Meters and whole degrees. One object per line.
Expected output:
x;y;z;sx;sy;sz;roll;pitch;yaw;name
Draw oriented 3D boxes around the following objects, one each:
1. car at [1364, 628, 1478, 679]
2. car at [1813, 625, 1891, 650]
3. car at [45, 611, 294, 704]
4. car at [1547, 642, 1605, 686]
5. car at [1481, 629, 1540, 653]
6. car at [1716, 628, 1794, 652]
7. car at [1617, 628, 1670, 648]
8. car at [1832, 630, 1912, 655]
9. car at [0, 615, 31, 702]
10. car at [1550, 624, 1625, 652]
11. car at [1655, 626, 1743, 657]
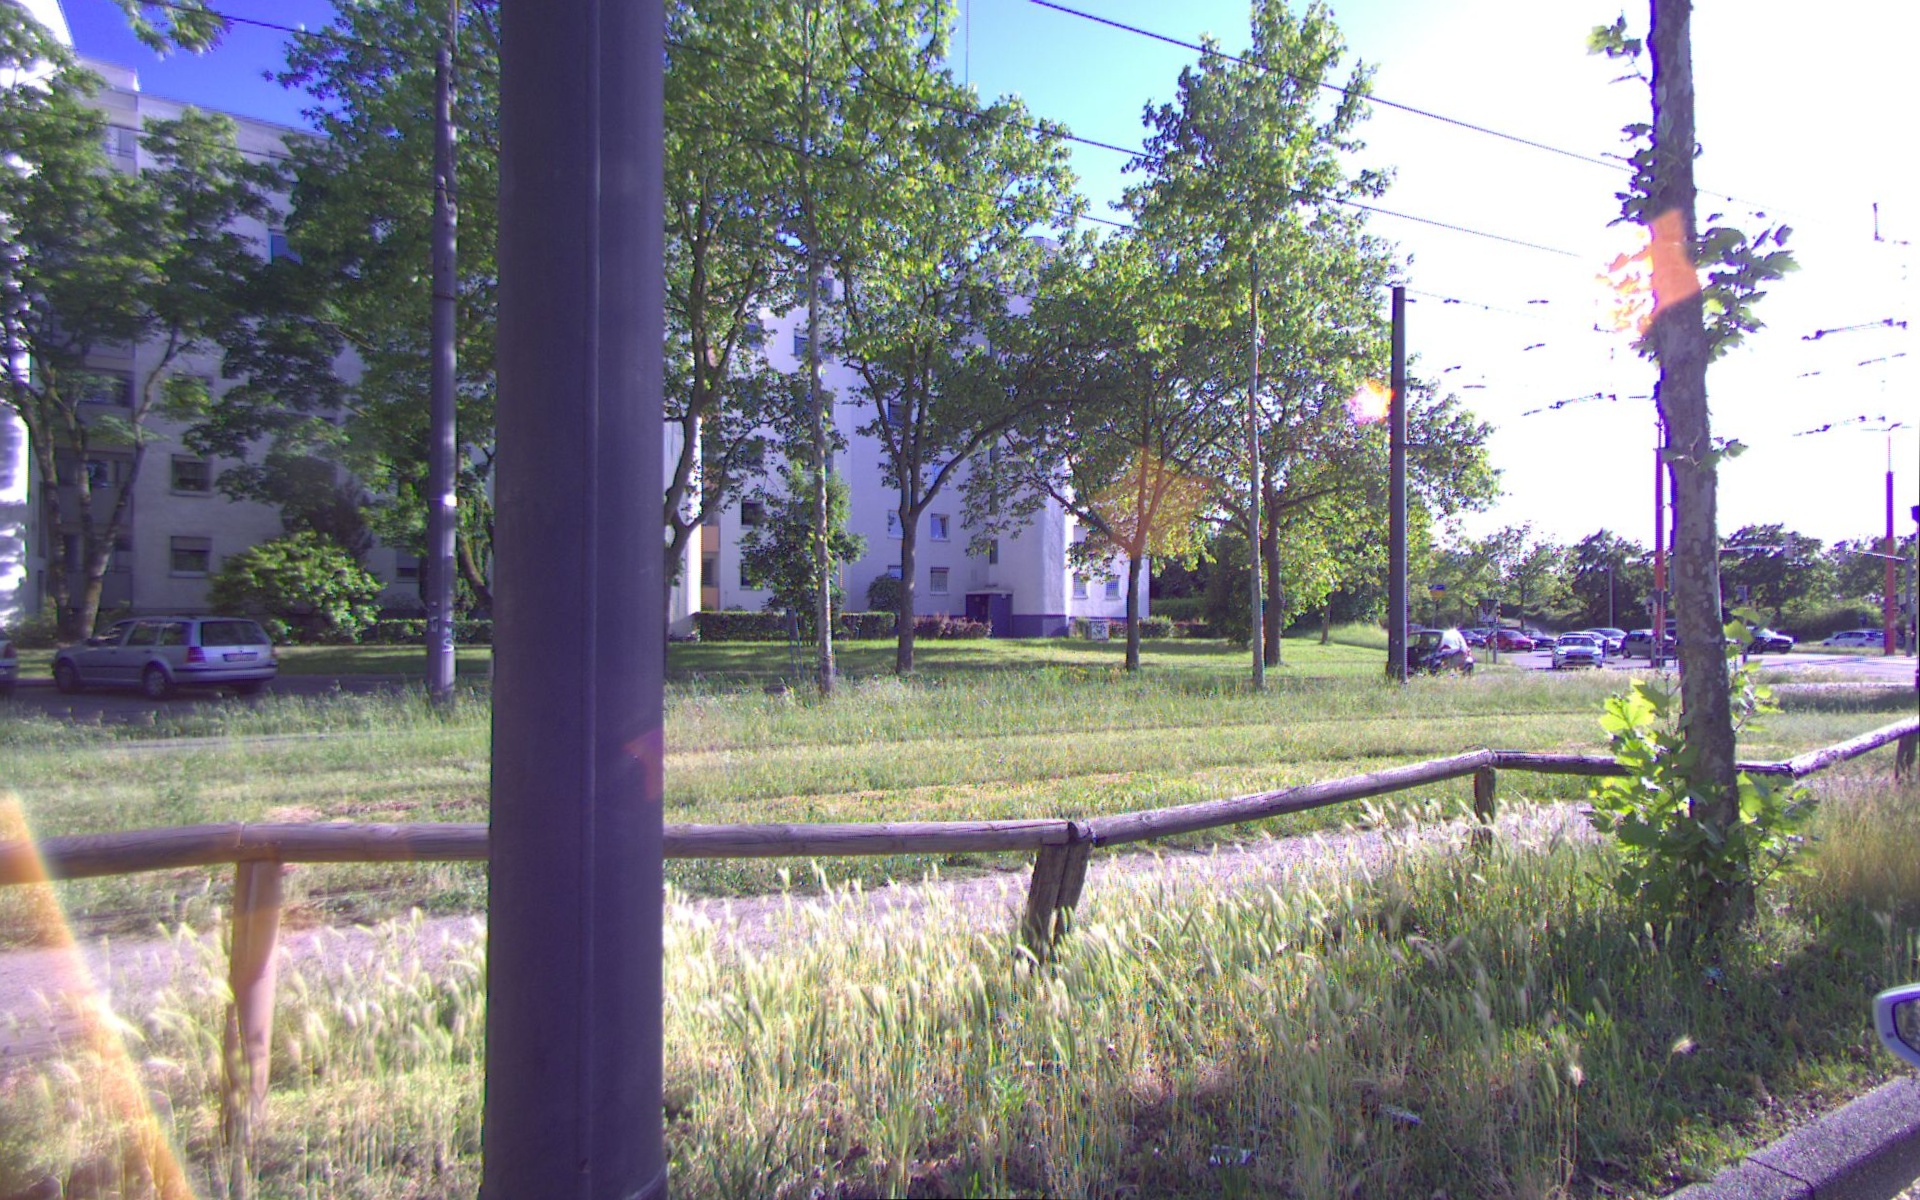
13.686;1.563;29.829;2.816;1.409;1.790;1;-1;-30;car
59.425;2.495;67.025;1.663;1.543;3.830;1;-1;-4;car
-14.553;0.996;18.516;3.898;1.462;1.710;1;0;18;car
27.854;2.842;45.540;1.964;1.754;4.838;0;-1;29;car
38.472;2.826;70.285;1.699;1.533;3.998;1;-1;-4;car
48.785;2.426;61.740;1.664;1.347;4.001;1;-1;2;car
45.954;2.546;67.584;1.499;1.214;3.171;1;-1;2;car
64.571;3.013;71.219;1.817;1.665;4.132;1;-1;-3;car
-17.973;0.971;17.148;3.547;1.439;1.576;1;0;18;car
39.005;2.351;62.522;1.833;1.633;4.185;1;-1;-4;car
42.455;2.341;57.807;1.962;1.666;3.997;1;-1;-5;car
